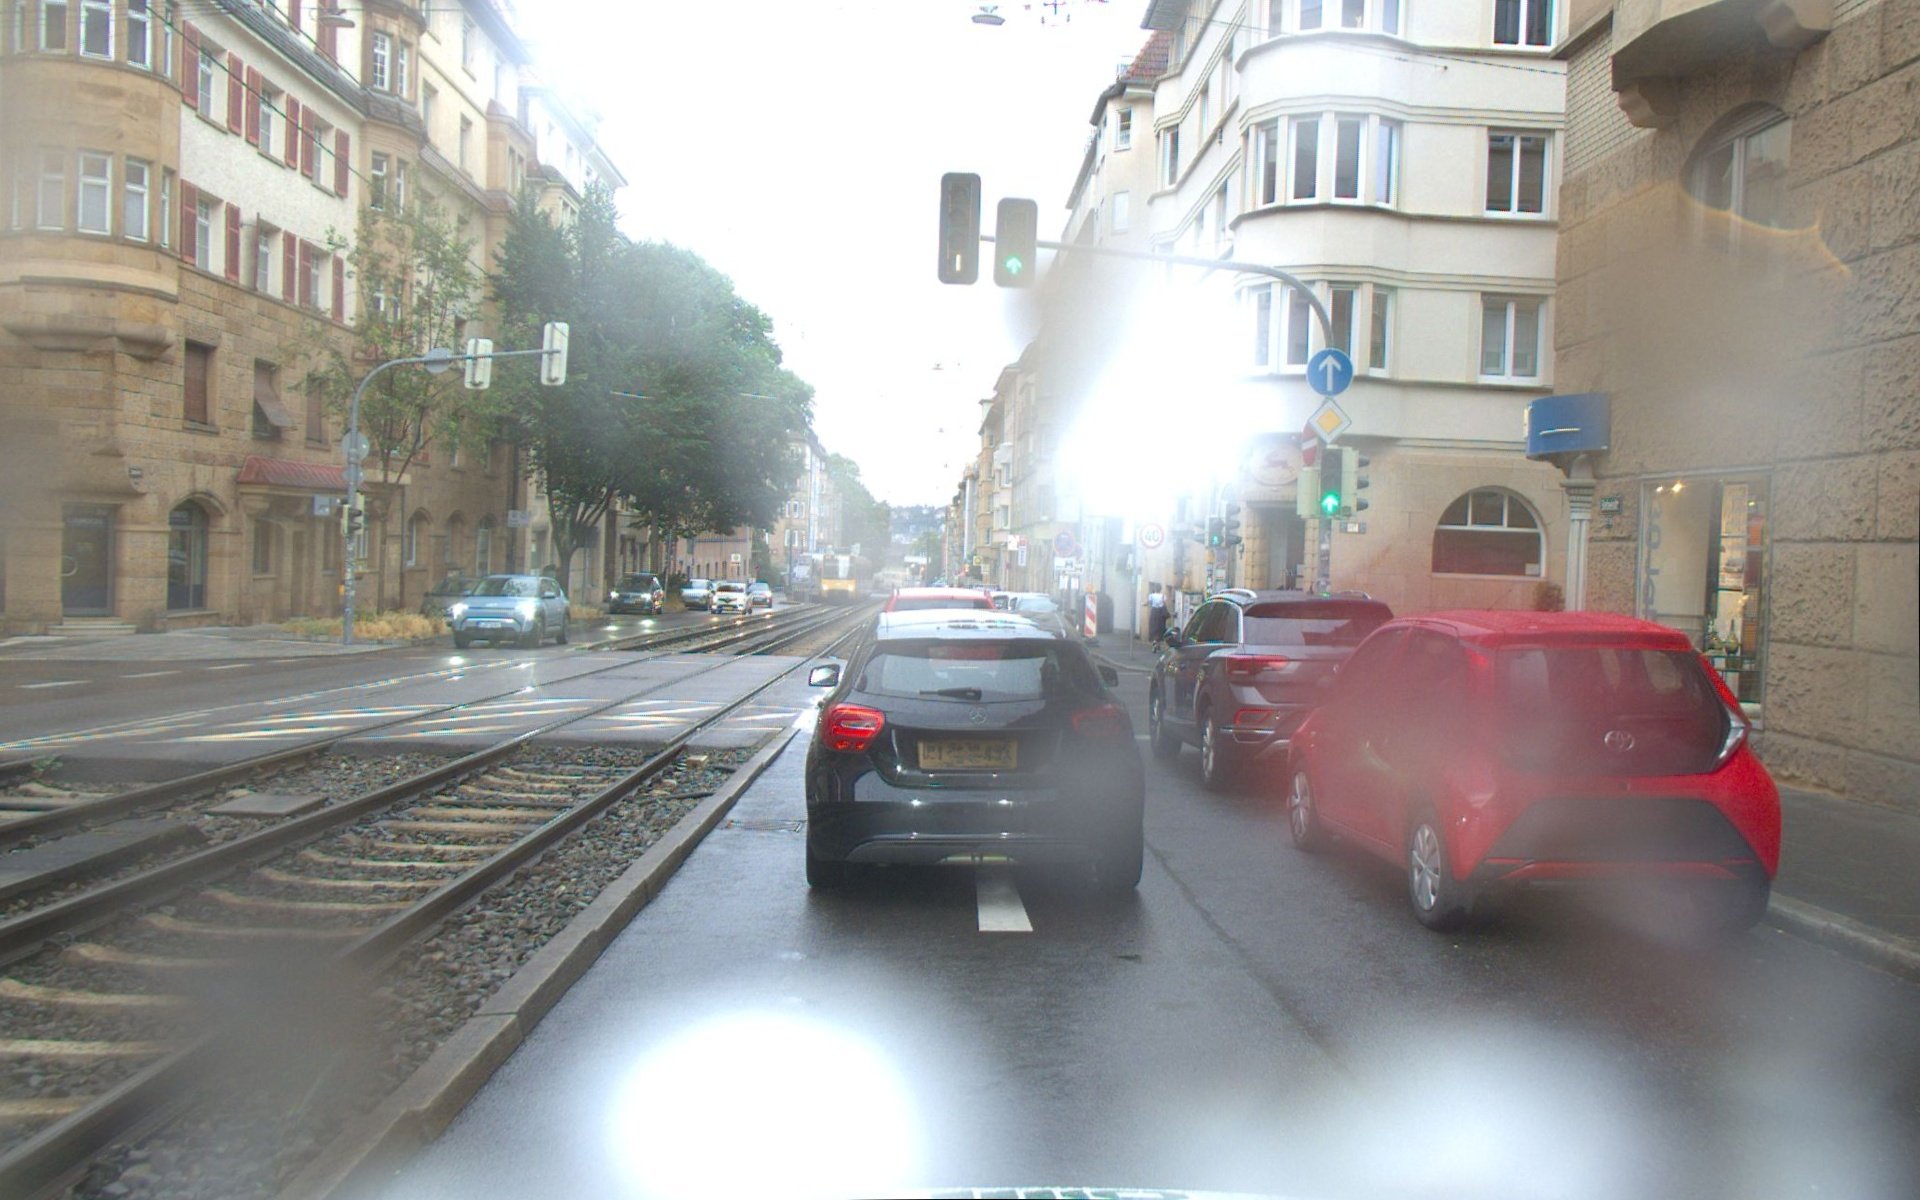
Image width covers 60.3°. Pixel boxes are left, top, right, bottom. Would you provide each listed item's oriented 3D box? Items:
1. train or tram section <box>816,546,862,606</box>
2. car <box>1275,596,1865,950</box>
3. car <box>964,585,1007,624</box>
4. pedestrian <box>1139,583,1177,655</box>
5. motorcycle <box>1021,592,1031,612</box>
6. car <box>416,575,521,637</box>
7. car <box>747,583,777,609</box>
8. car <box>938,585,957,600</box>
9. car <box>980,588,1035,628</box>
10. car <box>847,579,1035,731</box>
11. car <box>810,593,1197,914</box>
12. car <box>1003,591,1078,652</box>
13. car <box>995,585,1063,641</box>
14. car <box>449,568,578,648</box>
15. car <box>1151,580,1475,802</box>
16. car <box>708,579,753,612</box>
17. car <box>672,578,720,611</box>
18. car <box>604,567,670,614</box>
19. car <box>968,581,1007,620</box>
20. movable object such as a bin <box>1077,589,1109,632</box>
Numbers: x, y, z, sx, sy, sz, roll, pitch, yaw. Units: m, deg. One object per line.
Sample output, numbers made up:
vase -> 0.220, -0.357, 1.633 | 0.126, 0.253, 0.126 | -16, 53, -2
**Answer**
train or tram section -> -8.983, -1.773, 124.444 | 2.690, 4.132, 17.208 | 1, 1, -2
car -> 2.983, 0.748, 8.909 | 1.672, 1.478, 3.530 | 2, 0, -3
car -> 1.129, 0.222, 73.010 | 1.803, 1.636, 4.761 | 1, 0, 1
pedestrian -> 4.790, 0.457, 40.014 | 0.788, 1.717, 0.754 | 1, -1, -2
motorcycle -> 4.056, 0.114, 101.996 | 0.545, 1.180, 2.269 | -3, 1, 1
car -> -12.959, 0.161, 43.847 | 1.656, 1.556, 4.173 | 1, 0, -3
car -> -11.720, -0.245, 98.069 | 1.621, 1.488, 3.730 | 0, 0, -5
car -> -1.267, -0.772, 171.781 | 1.848, 1.552, 4.246 | 2, 0, 1
car -> 1.698, 0.293, 60.430 | 1.753, 1.410, 4.393 | 1, 0, -1
car -> -0.237, 0.582, 19.749 | 1.953, 1.552, 4.244 | 2, 0, -1
car -> 0.177, 0.719, 9.751 | 1.797, 1.478, 3.901 | 1, 0, -1
car -> 1.992, 0.536, 42.006 | 1.675, 1.435, 4.817 | 1, 0, 1
car -> 1.937, 0.366, 47.563 | 1.677, 1.493, 4.772 | 1, 0, -1
car -> -9.928, 0.182, 37.077 | 1.883, 1.646, 4.126 | 1, 0, -3
car -> 2.833, 0.666, 14.179 | 1.830, 1.576, 3.990 | 2, 0, -1
car -> -10.970, -0.190, 79.183 | 1.745, 1.529, 4.060 | 1, 0, -3
car -> -13.949, -0.330, 87.466 | 1.922, 1.633, 4.327 | 2, 1, -2
car -> -13.651, -0.427, 70.143 | 1.914, 1.772, 4.777 | 4, 1, -3
car -> 1.276, 0.021, 79.074 | 1.742, 1.780, 4.548 | 1, 0, 0
movable object such as a bin -> 4.674, 0.368, 58.277 | 0.960, 1.494, 1.272 | 1, -1, -2
